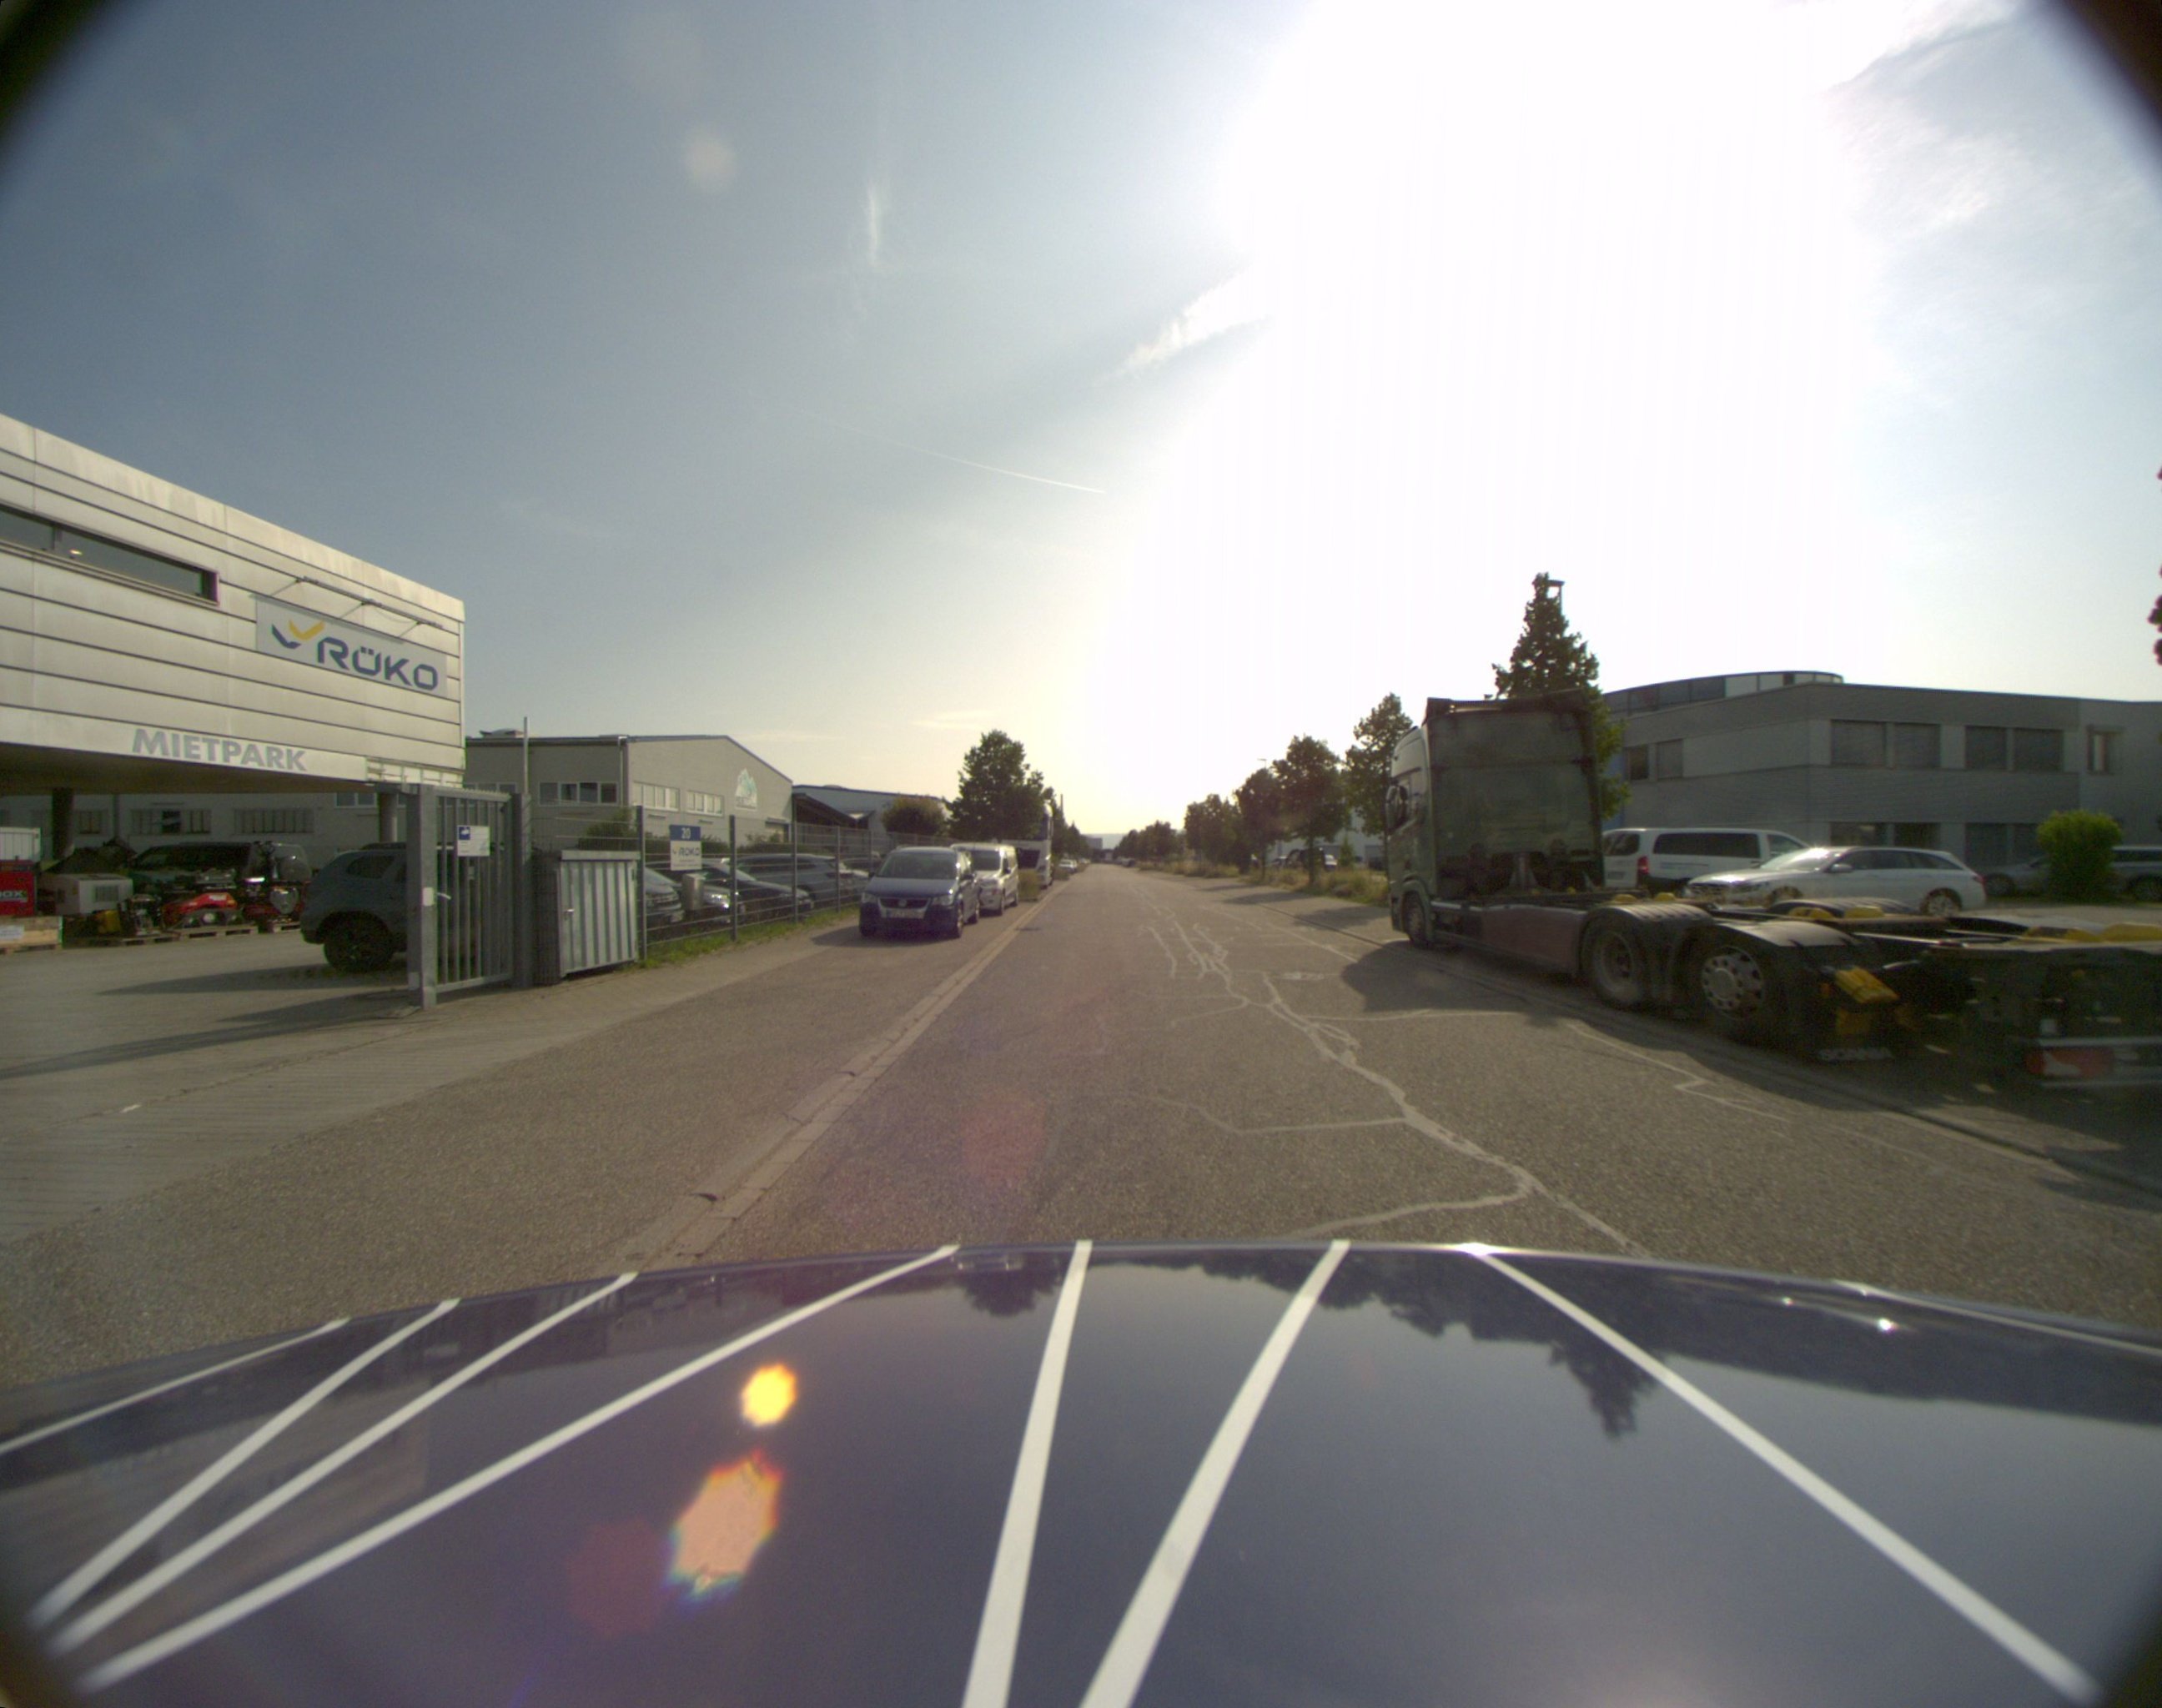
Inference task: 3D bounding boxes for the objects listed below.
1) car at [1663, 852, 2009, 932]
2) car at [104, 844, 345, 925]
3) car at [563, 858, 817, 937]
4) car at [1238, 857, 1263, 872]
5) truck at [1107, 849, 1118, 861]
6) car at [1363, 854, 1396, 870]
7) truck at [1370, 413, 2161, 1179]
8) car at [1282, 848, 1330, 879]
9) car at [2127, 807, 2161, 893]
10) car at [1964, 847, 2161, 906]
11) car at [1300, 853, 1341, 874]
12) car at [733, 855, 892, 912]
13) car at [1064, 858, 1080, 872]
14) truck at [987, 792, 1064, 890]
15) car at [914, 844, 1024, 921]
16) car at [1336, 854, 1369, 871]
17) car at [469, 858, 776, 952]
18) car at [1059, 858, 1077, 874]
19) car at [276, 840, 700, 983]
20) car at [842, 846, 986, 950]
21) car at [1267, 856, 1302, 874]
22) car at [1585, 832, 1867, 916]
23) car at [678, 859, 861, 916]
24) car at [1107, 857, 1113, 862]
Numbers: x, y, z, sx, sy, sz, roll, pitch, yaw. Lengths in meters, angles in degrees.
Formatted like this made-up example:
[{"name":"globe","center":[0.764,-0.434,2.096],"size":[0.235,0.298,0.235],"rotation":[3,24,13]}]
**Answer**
[{"name":"car","center":[14.629,0.705,14.964],"size":[4.738,1.422,2.000],"rotation":[-1,0,2]},{"name":"car","center":[-22.734,0.787,20.284],"size":[4.367,1.990,1.896],"rotation":[-1,0,2]},{"name":"car","center":[-7.914,0.846,15.708],"size":[4.236,1.486,1.899],"rotation":[-1,-1,-2]},{"name":"car","center":[16.615,1.047,74.590],"size":[1.758,1.401,3.919],"rotation":[-1,0,2]},{"name":"truck","center":[10.886,0.439,265.864],"size":[3.413,4.017,10.396],"rotation":[-2,0,1]},{"name":"car","center":[28.959,0.765,73.844],"size":[1.758,1.459,3.919],"rotation":[-1,0,2]},{"name":"truck","center":[6.263,-0.351,8.714],"size":[2.461,3.859,9.803],"rotation":[-2,1,3]},{"name":"car","center":[15.276,0.657,51.792],"size":[1.886,2.001,4.992],"rotation":[0,0,1]},{"name":"car","center":[35.017,-0.120,21.736],"size":[1.712,2.678,5.743],"rotation":[-1,1,-16]},{"name":"car","center":[27.661,0.560,20.652],"size":[1.580,1.472,4.518],"rotation":[0,1,-14]},{"name":"car","center":[19.394,0.765,61.628],"size":[1.947,1.597,4.509],"rotation":[-1,0,1]},{"name":"car","center":[-7.788,0.828,22.345],"size":[3.998,1.469,1.790],"rotation":[-2,0,-3]},{"name":"car","center":[-0.964,1.234,86.504],"size":[1.694,1.495,3.541],"rotation":[1,0,1]},{"name":"truck","center":[-2.392,-0.498,36.138],"size":[2.752,3.991,9.687],"rotation":[2,0,1]},{"name":"car","center":[-2.787,0.643,20.020],"size":[1.998,1.779,4.600],"rotation":[-1,1,3]},{"name":"car","center":[26.395,0.782,74.025],"size":[1.910,1.609,3.919],"rotation":[-1,0,2]},{"name":"car","center":[-7.891,0.845,13.423],"size":[4.236,1.486,1.899],"rotation":[-1,-1,-2]},{"name":"car","center":[-1.312,1.218,77.896],"size":[1.668,1.495,3.541],"rotation":[1,0,1]},{"name":"car","center":[-7.911,0.713,10.554],"size":[4.237,1.727,1.898],"rotation":[-1,0,-6]},{"name":"car","center":[-3.064,0.720,14.888],"size":[1.830,1.710,4.248],"rotation":[-1,1,0]},{"name":"car","center":[16.650,0.867,62.326],"size":[1.790,1.441,3.918],"rotation":[-1,0,0]},{"name":"car","center":[14.773,0.444,17.640],"size":[4.715,1.825,2.103],"rotation":[0,0,2]},{"name":"car","center":[-7.904,0.832,19.579],"size":[3.998,1.363,1.790],"rotation":[0,0,-3]},{"name":"car","center":[8.187,1.536,217.554],"size":[1.668,1.495,3.540],"rotation":[-1,1,1]}]
